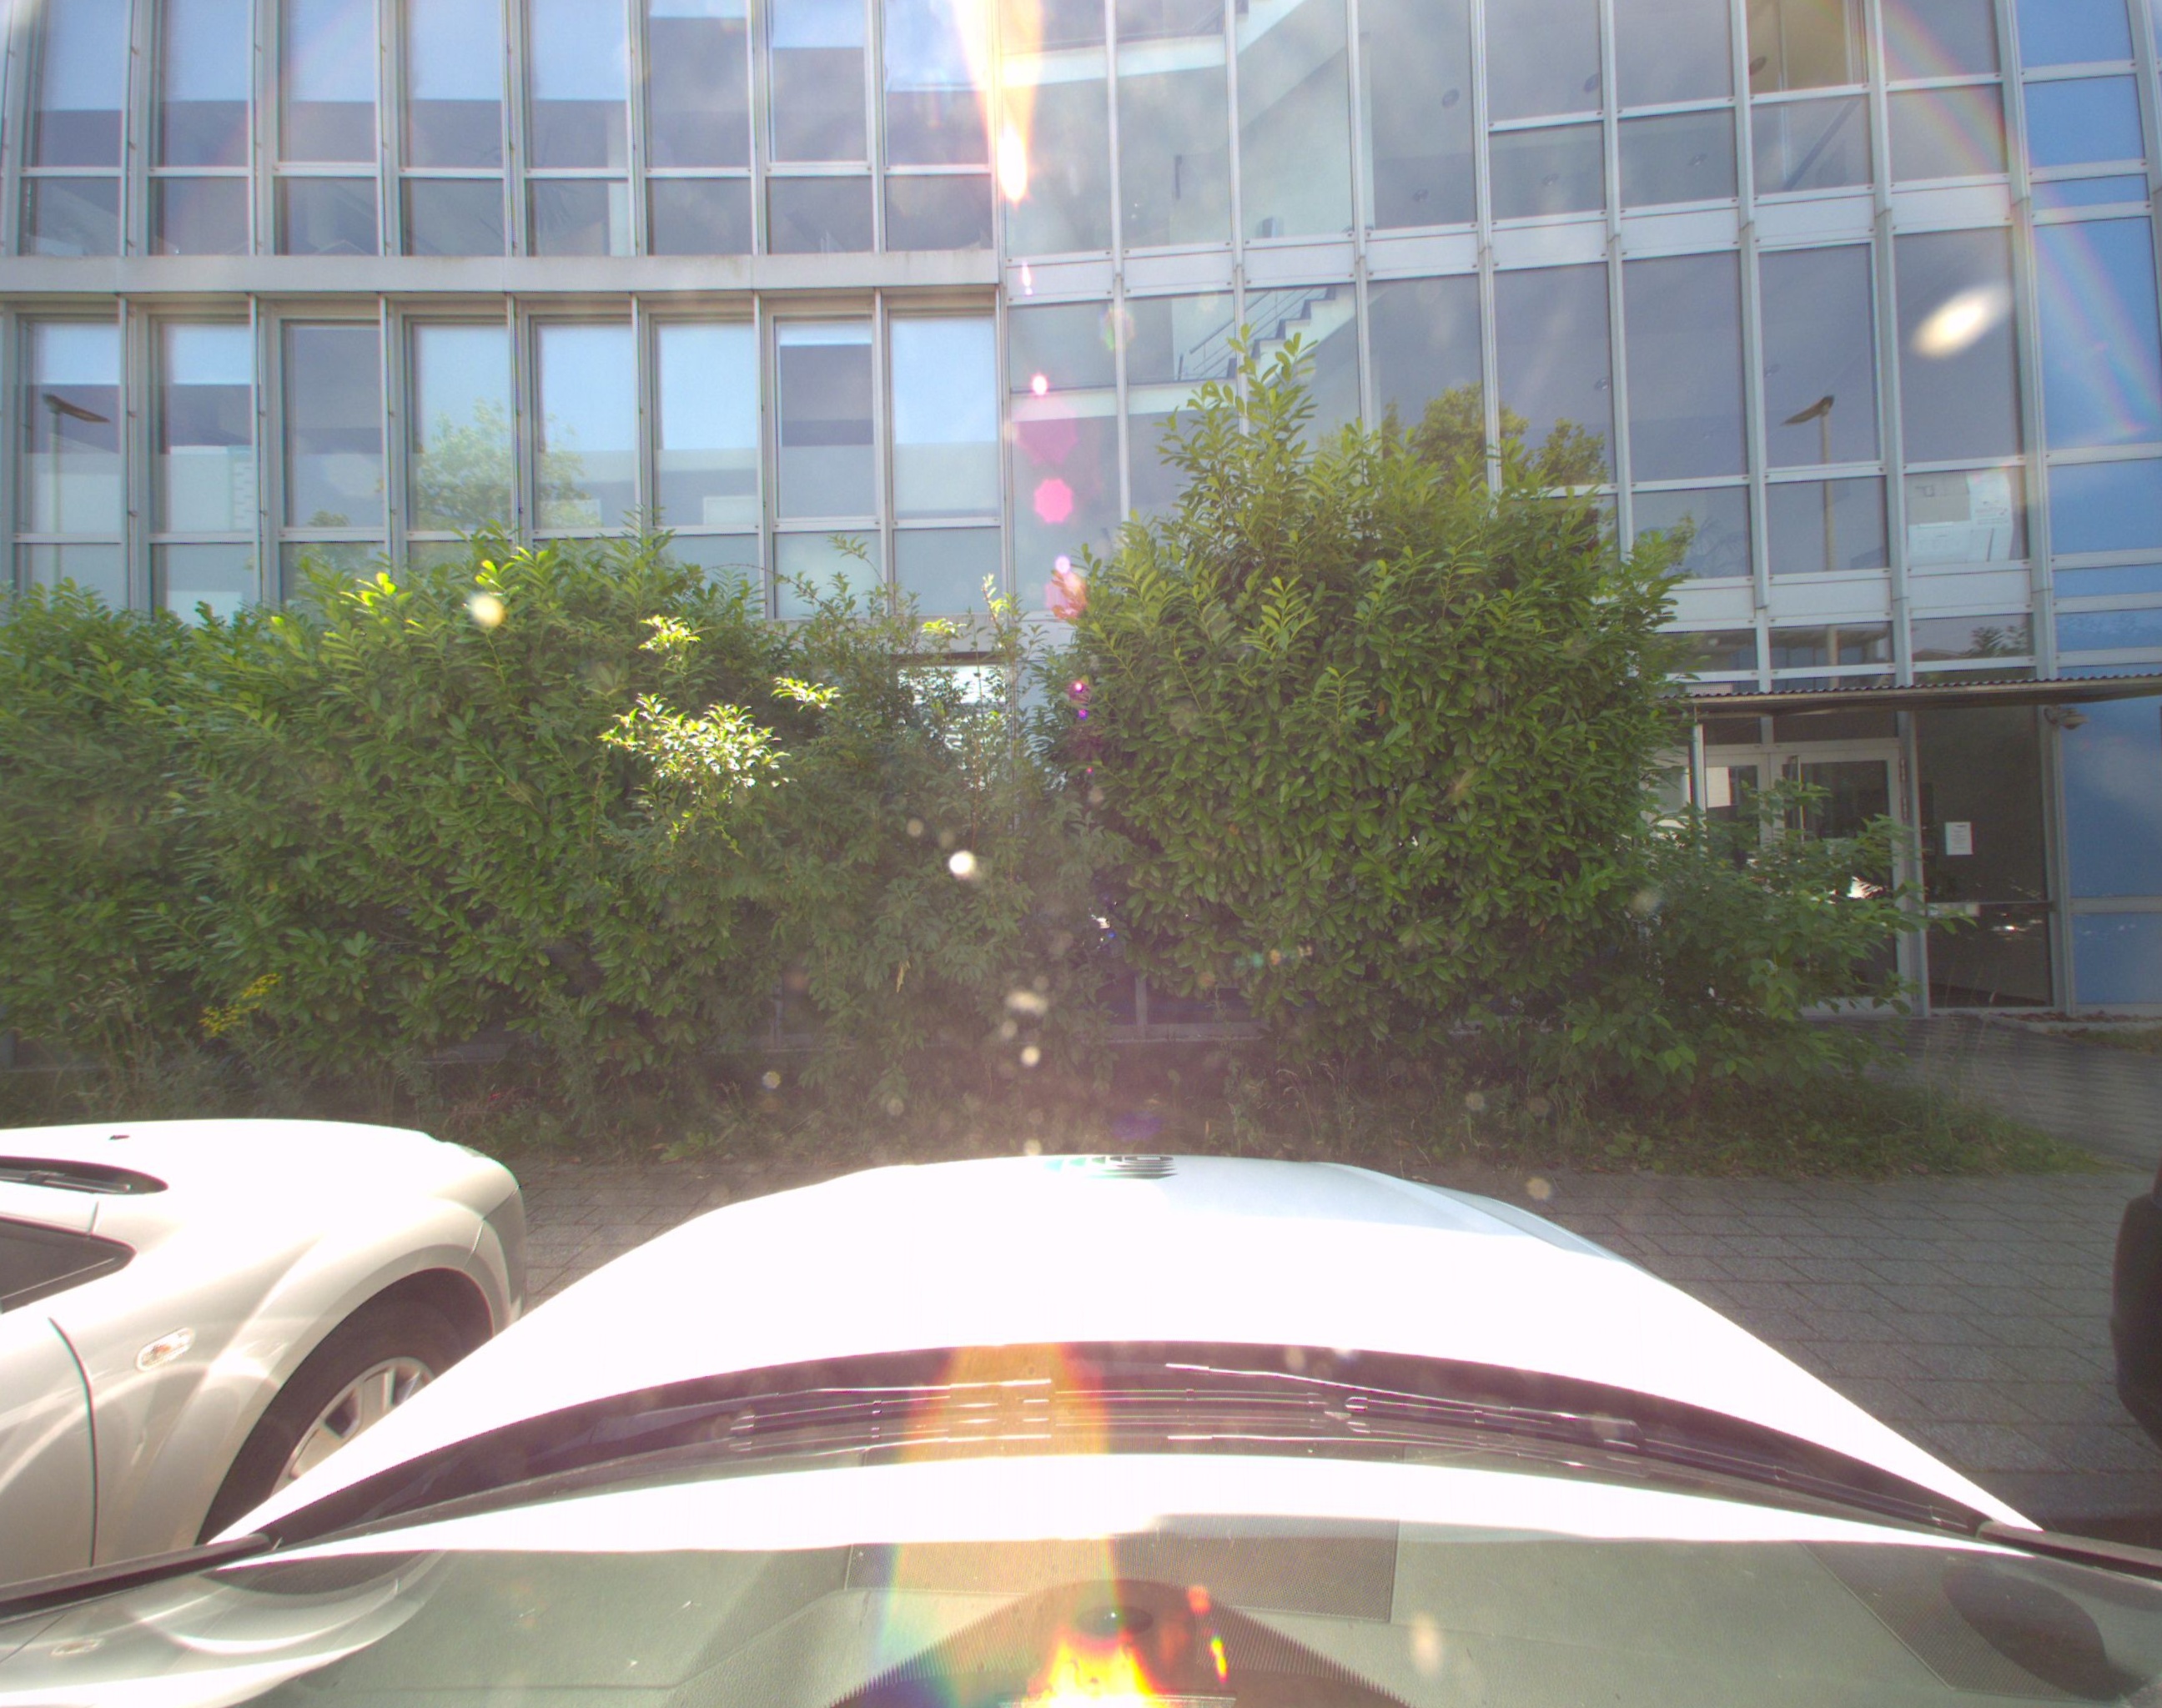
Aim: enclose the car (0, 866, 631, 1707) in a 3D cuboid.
[{"bbox_3d":[-2.190,0.778,0.152,1.713,1.479,4.349,-1,0,1],"label":"car"}]
